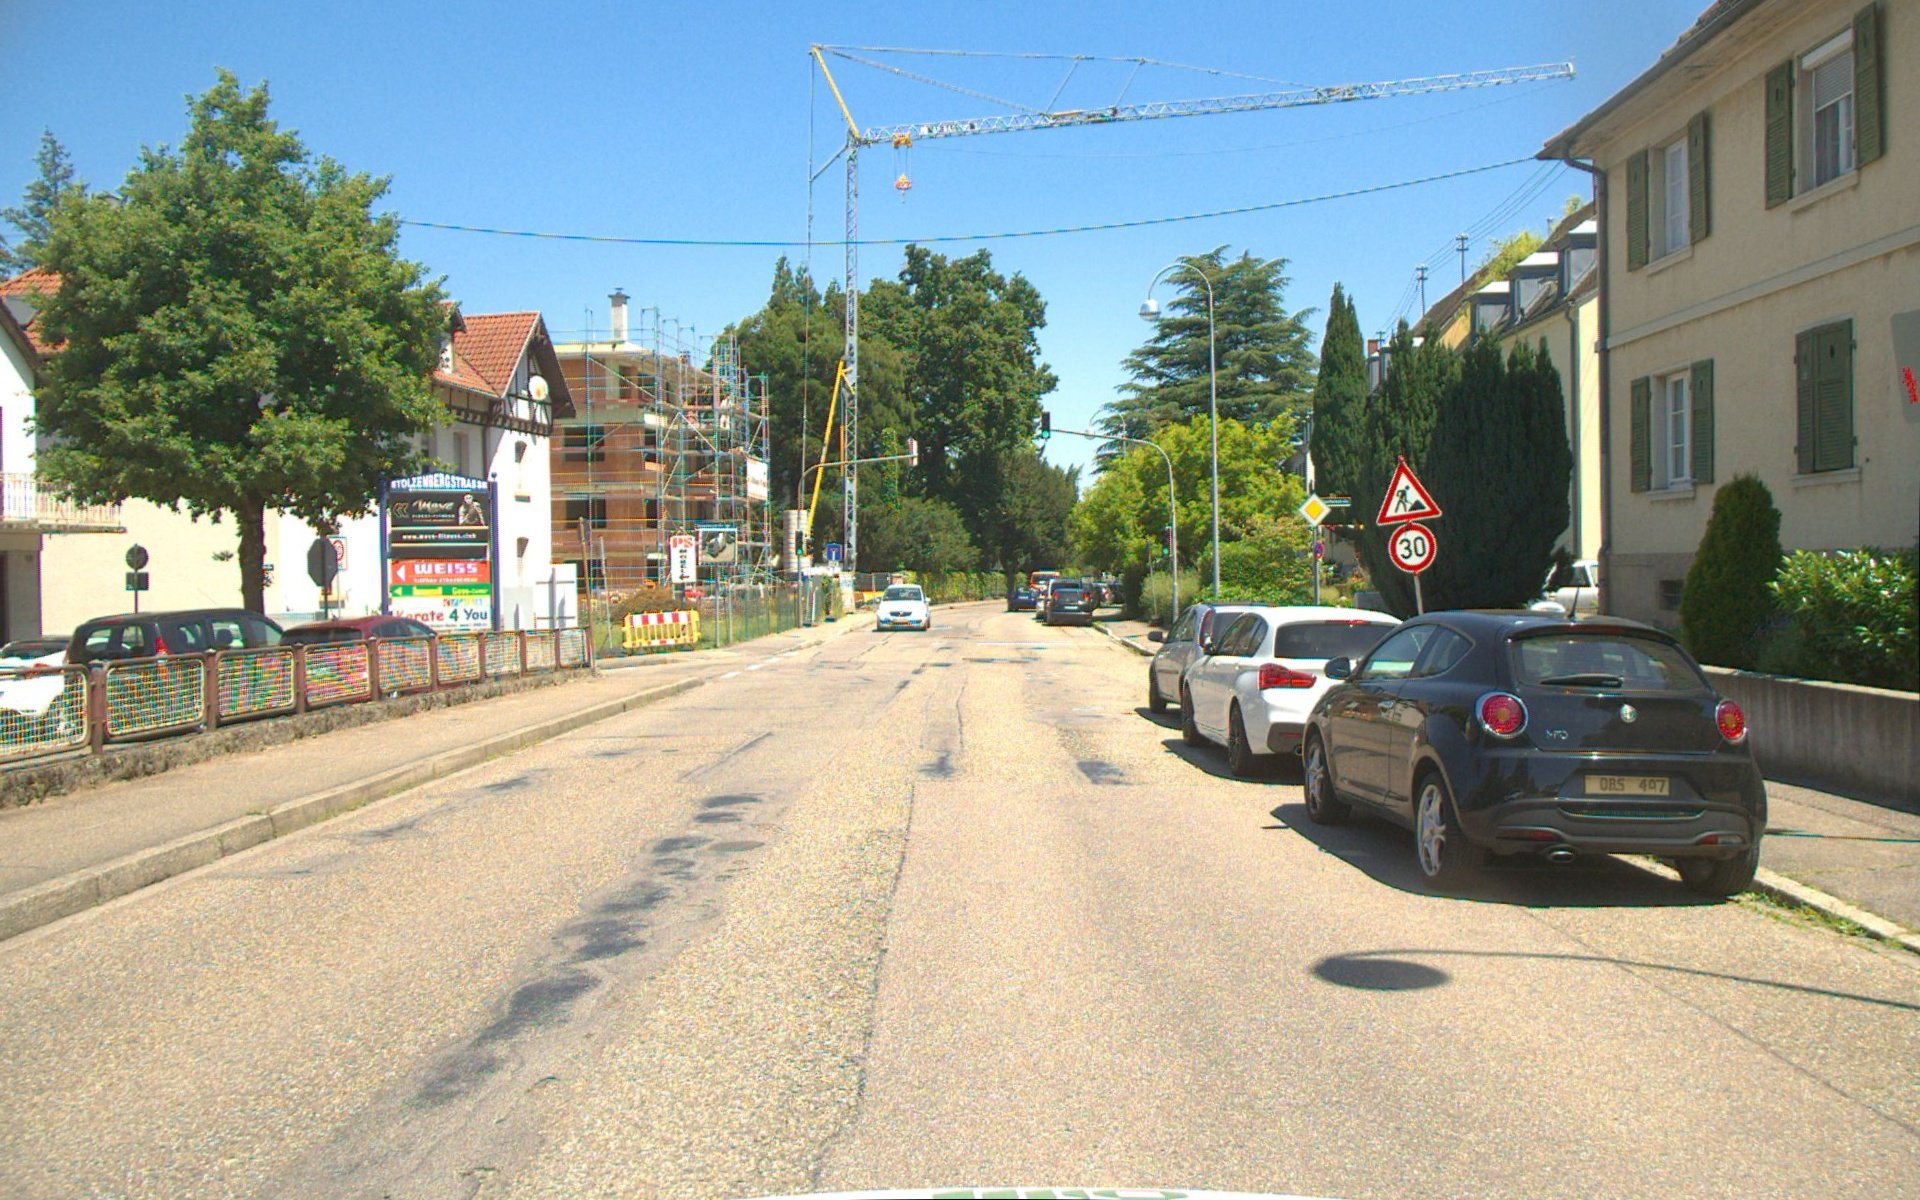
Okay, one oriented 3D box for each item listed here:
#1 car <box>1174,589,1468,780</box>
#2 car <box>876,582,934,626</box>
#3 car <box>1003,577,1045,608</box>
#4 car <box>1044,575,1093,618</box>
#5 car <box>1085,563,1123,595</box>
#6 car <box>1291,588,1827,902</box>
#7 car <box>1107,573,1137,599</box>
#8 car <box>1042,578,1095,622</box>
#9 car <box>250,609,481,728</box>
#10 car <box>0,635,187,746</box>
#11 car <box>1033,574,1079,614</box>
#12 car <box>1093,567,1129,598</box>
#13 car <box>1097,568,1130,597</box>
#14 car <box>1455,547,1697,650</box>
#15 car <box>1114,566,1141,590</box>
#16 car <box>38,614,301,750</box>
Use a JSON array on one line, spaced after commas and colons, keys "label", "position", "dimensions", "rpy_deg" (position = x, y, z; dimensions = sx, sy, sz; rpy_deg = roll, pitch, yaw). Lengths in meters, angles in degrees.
[{"label": "car", "position": [3.146, 0.663, 15.178], "dimensions": [1.725, 1.477, 3.888], "rpy_deg": [-1, 1, -2]}, {"label": "car", "position": [-1.908, 0.129, 58.786], "dimensions": [1.724, 1.477, 3.841], "rpy_deg": [-1, 1, 3]}, {"label": "car", "position": [3.472, -0.431, 89.276], "dimensions": [1.917, 1.493, 4.004], "rpy_deg": [-1, 2, 7]}, {"label": "car", "position": [4.491, -0.155, 68.739], "dimensions": [1.952, 1.691, 4.002], "rpy_deg": [-2, 0, 3]}, {"label": "car", "position": [8.008, -1.152, 91.646], "dimensions": [1.951, 1.691, 4.003], "rpy_deg": [-2, 0, 6]}, {"label": "car", "position": [3.300, 0.690, 9.954], "dimensions": [1.725, 1.477, 3.838], "rpy_deg": [-1, 1, -2]}, {"label": "car", "position": [11.095, -0.986, 113.284], "dimensions": [1.951, 1.691, 4.003], "rpy_deg": [-2, 0, 6]}, {"label": "car", "position": [4.208, -0.002, 64.339], "dimensions": [1.952, 1.601, 4.002], "rpy_deg": [-2, 0, 3]}, {"label": "car", "position": [-8.069, 0.881, 22.778], "dimensions": [1.625, 1.413, 3.537], "rpy_deg": [-2, 0, 5]}, {"label": "car", "position": [-12.989, 1.267, 23.987], "dimensions": [1.625, 1.356, 3.537], "rpy_deg": [-2, 0, 5]}, {"label": "car", "position": [4.318, -0.273, 74.413], "dimensions": [1.952, 1.691, 4.002], "rpy_deg": [-2, 0, 3]}, {"label": "car", "position": [8.852, -1.007, 96.639], "dimensions": [1.951, 1.691, 4.003], "rpy_deg": [-2, 0, 6]}, {"label": "car", "position": [9.443, -1.055, 101.560], "dimensions": [1.951, 1.691, 4.003], "rpy_deg": [-2, 0, 6]}, {"label": "car", "position": [11.937, -0.029, 32.262], "dimensions": [3.905, 1.668, 2.001], "rpy_deg": [-4, 0, 2]}, {"label": "car", "position": [12.563, -1.657, 123.910], "dimensions": [1.951, 1.691, 4.003], "rpy_deg": [-2, 0, 6]}, {"label": "car", "position": [-10.660, 1.047, 22.588], "dimensions": [1.625, 1.603, 3.537], "rpy_deg": [-2, 0, 5]}]
